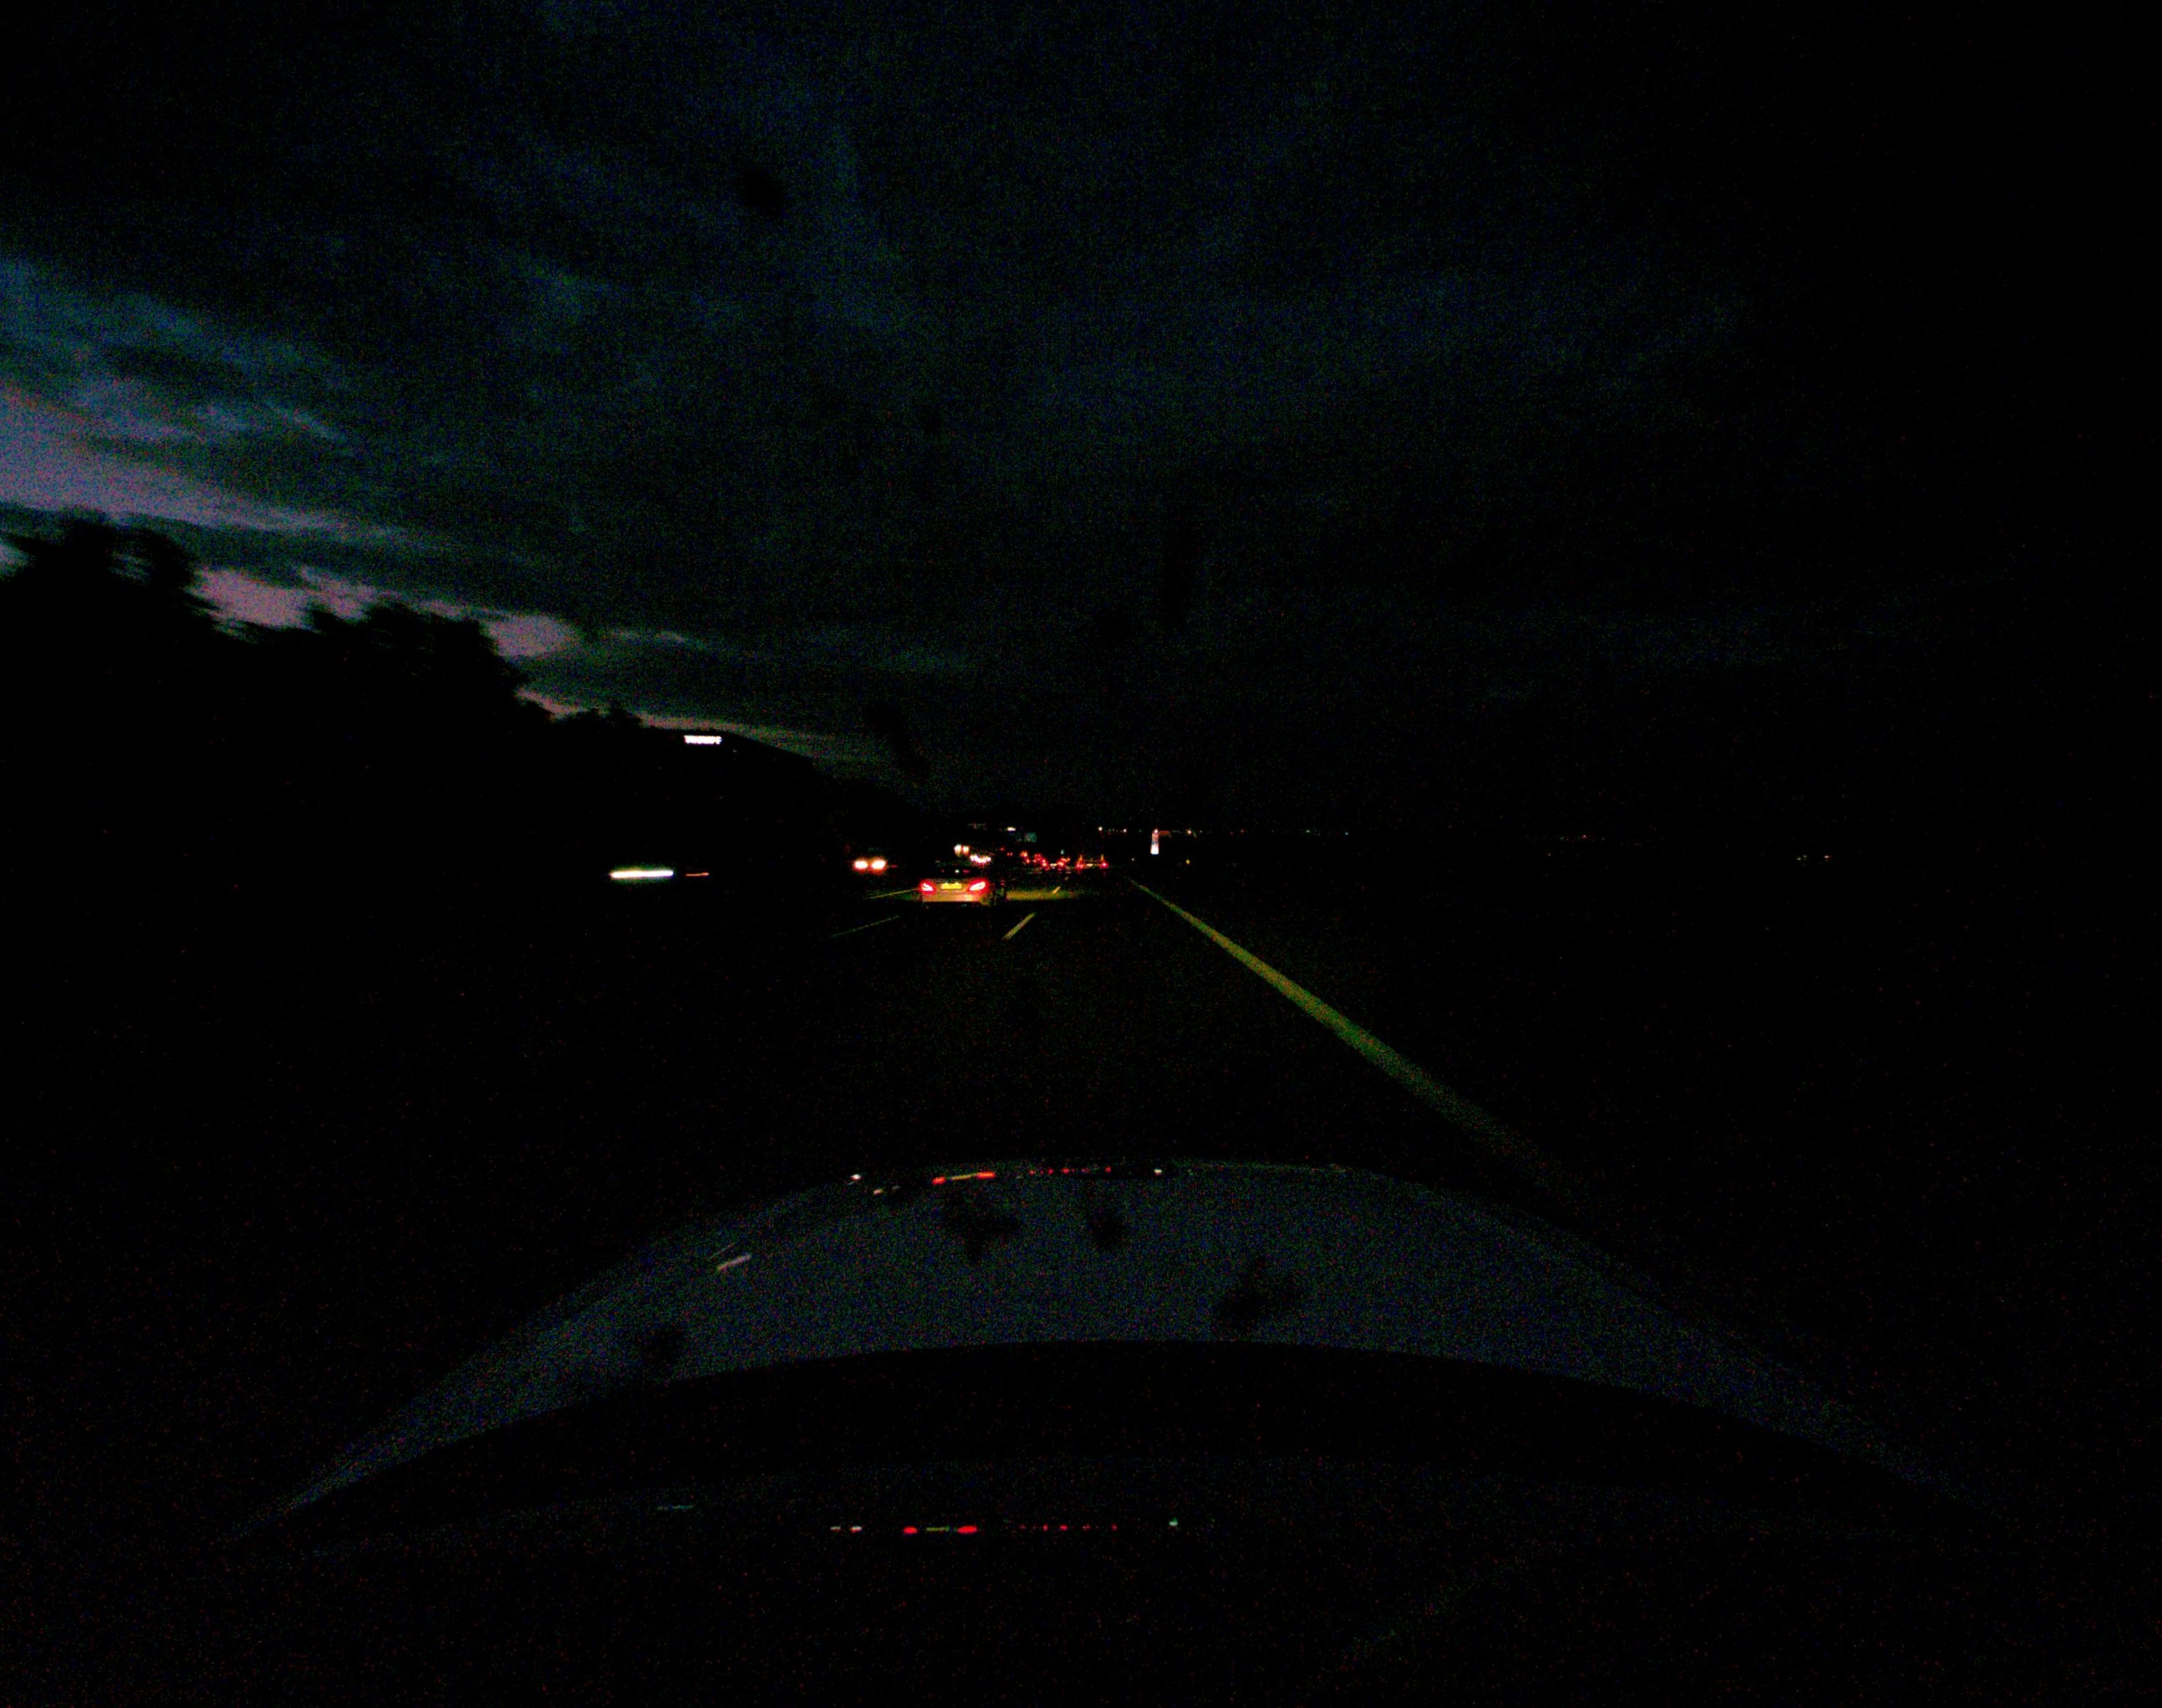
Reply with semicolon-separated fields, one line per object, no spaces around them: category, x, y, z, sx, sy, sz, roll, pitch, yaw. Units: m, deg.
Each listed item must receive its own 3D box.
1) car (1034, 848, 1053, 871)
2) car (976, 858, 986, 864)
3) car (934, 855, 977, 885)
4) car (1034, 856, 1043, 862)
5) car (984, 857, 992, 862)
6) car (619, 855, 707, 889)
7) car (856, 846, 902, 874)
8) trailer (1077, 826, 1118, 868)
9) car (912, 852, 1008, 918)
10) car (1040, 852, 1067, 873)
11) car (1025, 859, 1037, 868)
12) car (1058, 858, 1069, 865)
car;-4.109;0.582;88.163;1.990;2.380;3.994;0;-1;-4
car;-24.805;1.836;202.248;1.988;1.453;3.832;0;-1;-2
car;-7.048;0.884;46.186;1.756;1.575;4.575;0;0;-1
car;-12.410;1.485;238.399;1.994;1.622;3.985;0;-1;-11
car;-28.347;1.703;248.219;1.830;1.336;4.904;0;0;-3
car;-22.066;0.923;43.258;1.986;1.693;4.971;0;0;1
car;-18.325;0.541;74.297;2.317;2.431;7.095;0;0;1
trailer;1.552;-0.573;86.475;3.541;4.116;15.050;-1;-1;-2
car;-3.209;0.779;22.569;1.900;1.614;4.803;0;0;1
car;-2.239;0.689;65.826;2.060;1.686;4.572;0;-1;-2
car;-9.333;1.714;152.655;1.992;1.622;3.990;0;-1;-7
car;-3.801;1.585;176.616;1.990;1.534;3.994;0;-1;-4
